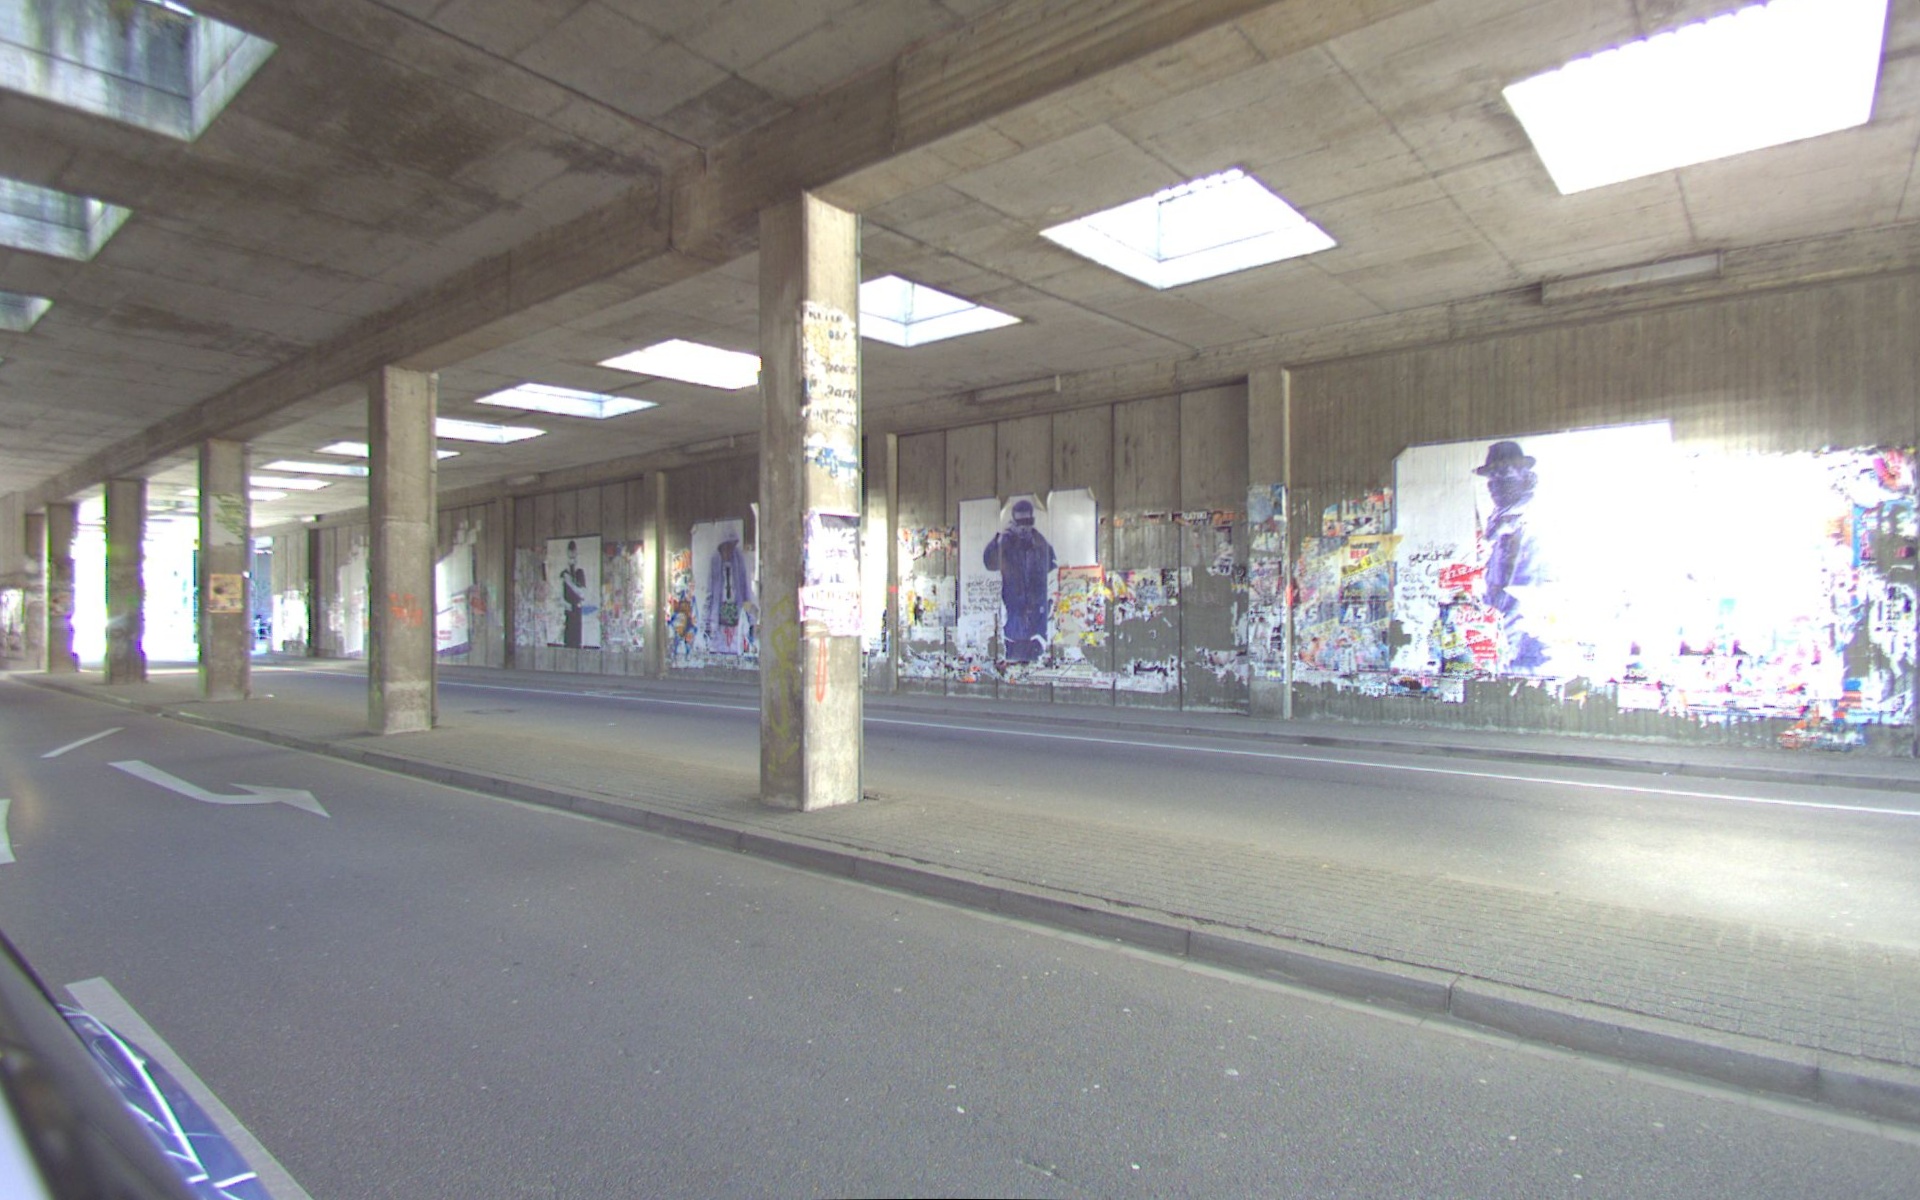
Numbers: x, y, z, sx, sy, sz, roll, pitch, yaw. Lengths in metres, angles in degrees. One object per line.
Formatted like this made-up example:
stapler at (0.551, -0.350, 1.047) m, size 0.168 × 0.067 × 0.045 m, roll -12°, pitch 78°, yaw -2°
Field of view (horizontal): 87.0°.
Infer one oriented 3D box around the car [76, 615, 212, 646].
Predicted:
car at (-51.628, 1.890, 64.173) m, size 1.999 × 1.763 × 6.452 m, roll -1°, pitch 0°, yaw 41°
